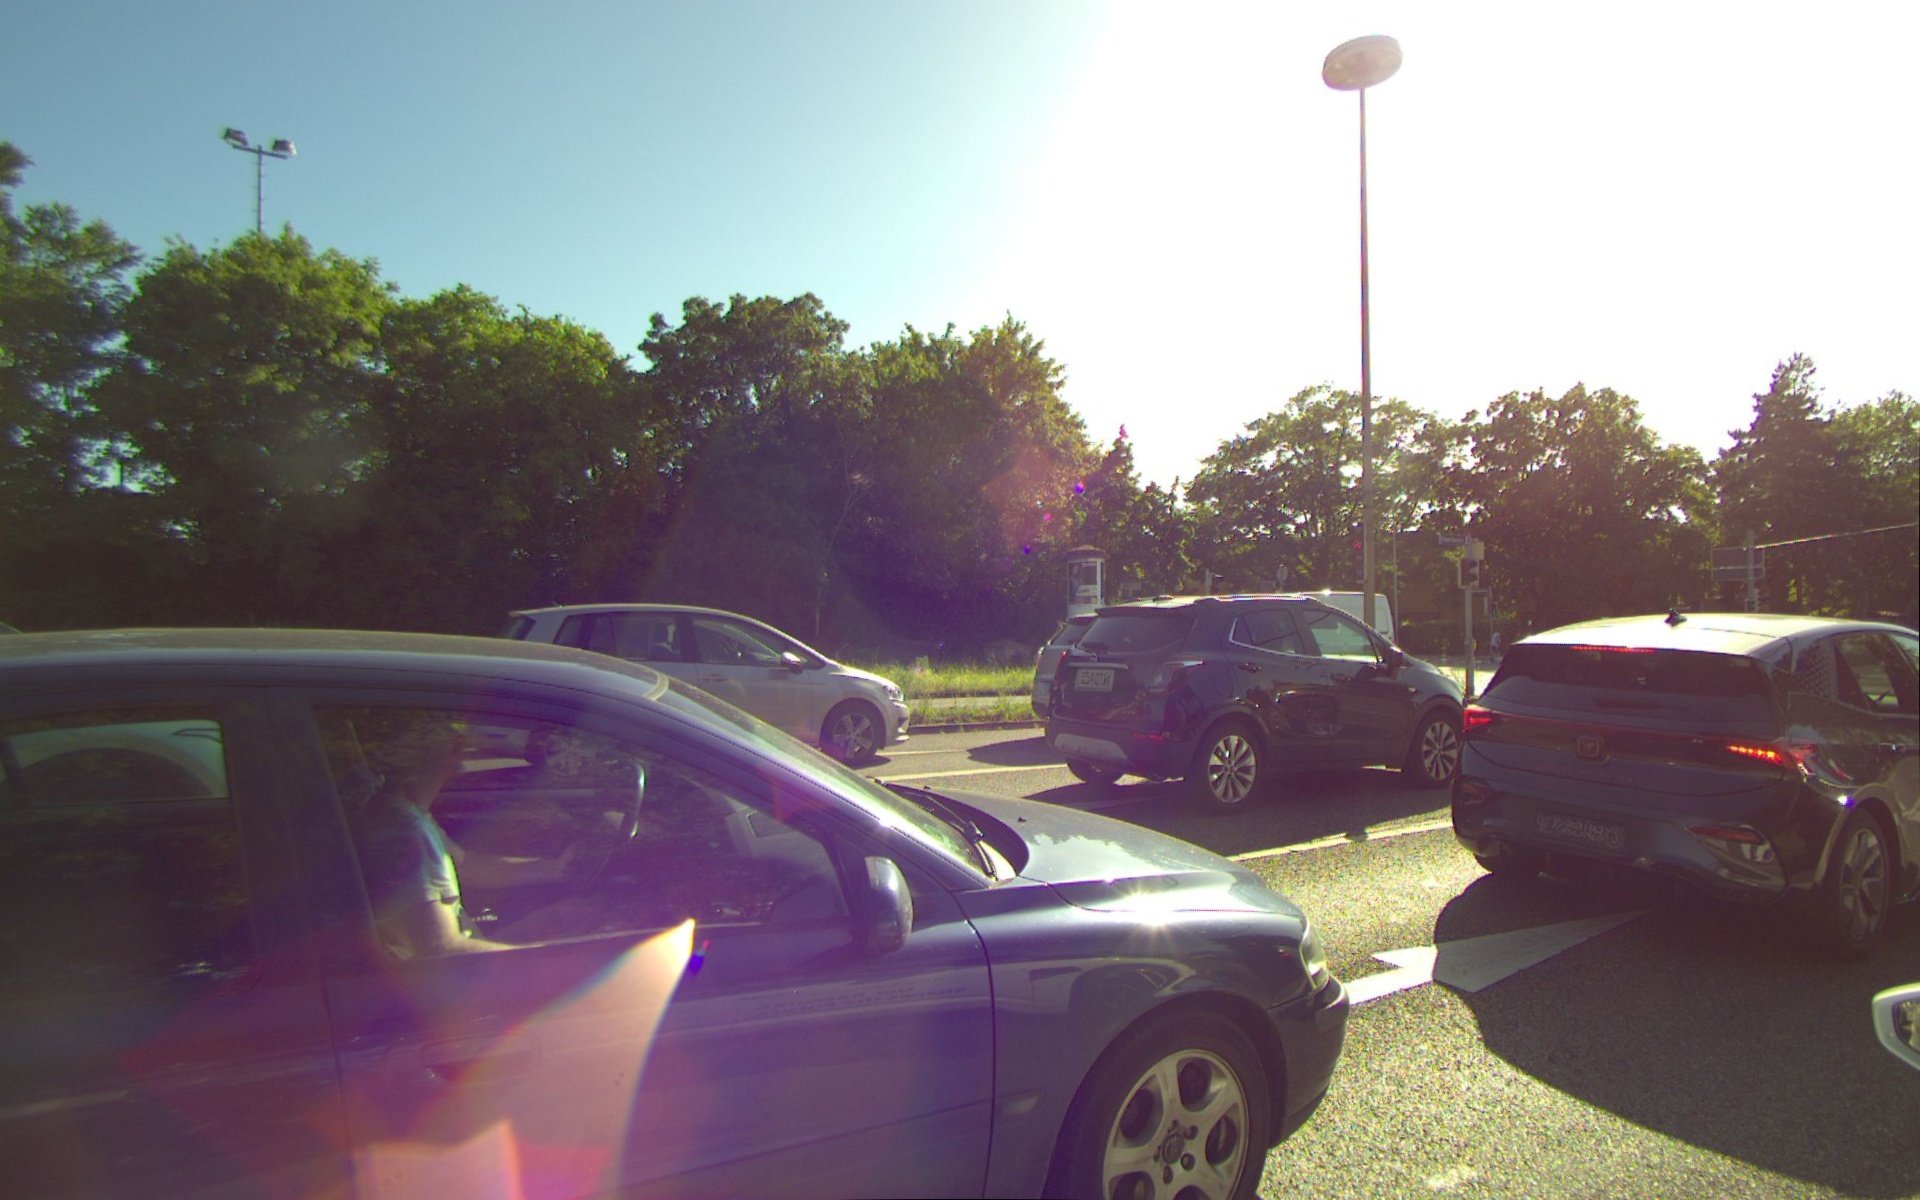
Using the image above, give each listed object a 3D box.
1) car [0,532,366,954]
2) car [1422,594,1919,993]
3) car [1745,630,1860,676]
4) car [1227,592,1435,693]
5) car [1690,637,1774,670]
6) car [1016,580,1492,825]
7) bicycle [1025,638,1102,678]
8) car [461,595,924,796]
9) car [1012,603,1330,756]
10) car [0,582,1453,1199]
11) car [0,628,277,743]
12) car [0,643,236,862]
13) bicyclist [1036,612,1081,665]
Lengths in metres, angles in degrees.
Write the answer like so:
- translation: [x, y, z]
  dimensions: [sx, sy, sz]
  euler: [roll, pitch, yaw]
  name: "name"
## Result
- translation: [-5.247, 0.601, 4.518]
  dimensions: [4.373, 1.732, 1.984]
  euler: [1, -2, -30]
  name: "car"
- translation: [4.743, 0.831, 5.824]
  dimensions: [4.158, 1.601, 1.676]
  euler: [2, -1, -30]
  name: "car"
- translation: [29.057, 1.790, 34.619]
  dimensions: [4.116, 1.482, 1.768]
  euler: [1, -2, -30]
  name: "car"
- translation: [10.252, 1.151, 27.621]
  dimensions: [5.933, 2.525, 2.090]
  euler: [1, -2, -30]
  name: "car"
- translation: [30.537, 2.084, 39.728]
  dimensions: [3.593, 1.251, 1.383]
  euler: [1, -2, -30]
  name: "car"
- translation: [2.623, 0.773, 8.803]
  dimensions: [3.953, 1.711, 1.796]
  euler: [1, -2, -30]
  name: "car"
- translation: [3.326, 1.854, 32.262]
  dimensions: [2.511, 1.228, 0.870]
  euler: [1, -2, -35]
  name: "bicycle"
- translation: [-2.610, 0.840, 10.014]
  dimensions: [4.156, 1.632, 1.822]
  euler: [1, -2, -30]
  name: "car"
- translation: [2.814, 0.958, 13.190]
  dimensions: [3.956, 1.724, 1.820]
  euler: [1, -2, -32]
  name: "car"
- translation: [-1.093, 0.728, 2.210]
  dimensions: [4.404, 1.471, 1.767]
  euler: [2, 0, -30]
  name: "car"
- translation: [-12.402, 1.186, 14.583]
  dimensions: [3.956, 1.529, 1.678]
  euler: [1, -2, -30]
  name: "car"
- translation: [-7.910, 1.042, 6.953]
  dimensions: [4.499, 1.448, 1.822]
  euler: [1, -2, -30]
  name: "car"
- translation: [3.157, 1.230, 32.190]
  dimensions: [1.187, 1.670, 0.870]
  euler: [1, -2, -35]
  name: "bicyclist"
